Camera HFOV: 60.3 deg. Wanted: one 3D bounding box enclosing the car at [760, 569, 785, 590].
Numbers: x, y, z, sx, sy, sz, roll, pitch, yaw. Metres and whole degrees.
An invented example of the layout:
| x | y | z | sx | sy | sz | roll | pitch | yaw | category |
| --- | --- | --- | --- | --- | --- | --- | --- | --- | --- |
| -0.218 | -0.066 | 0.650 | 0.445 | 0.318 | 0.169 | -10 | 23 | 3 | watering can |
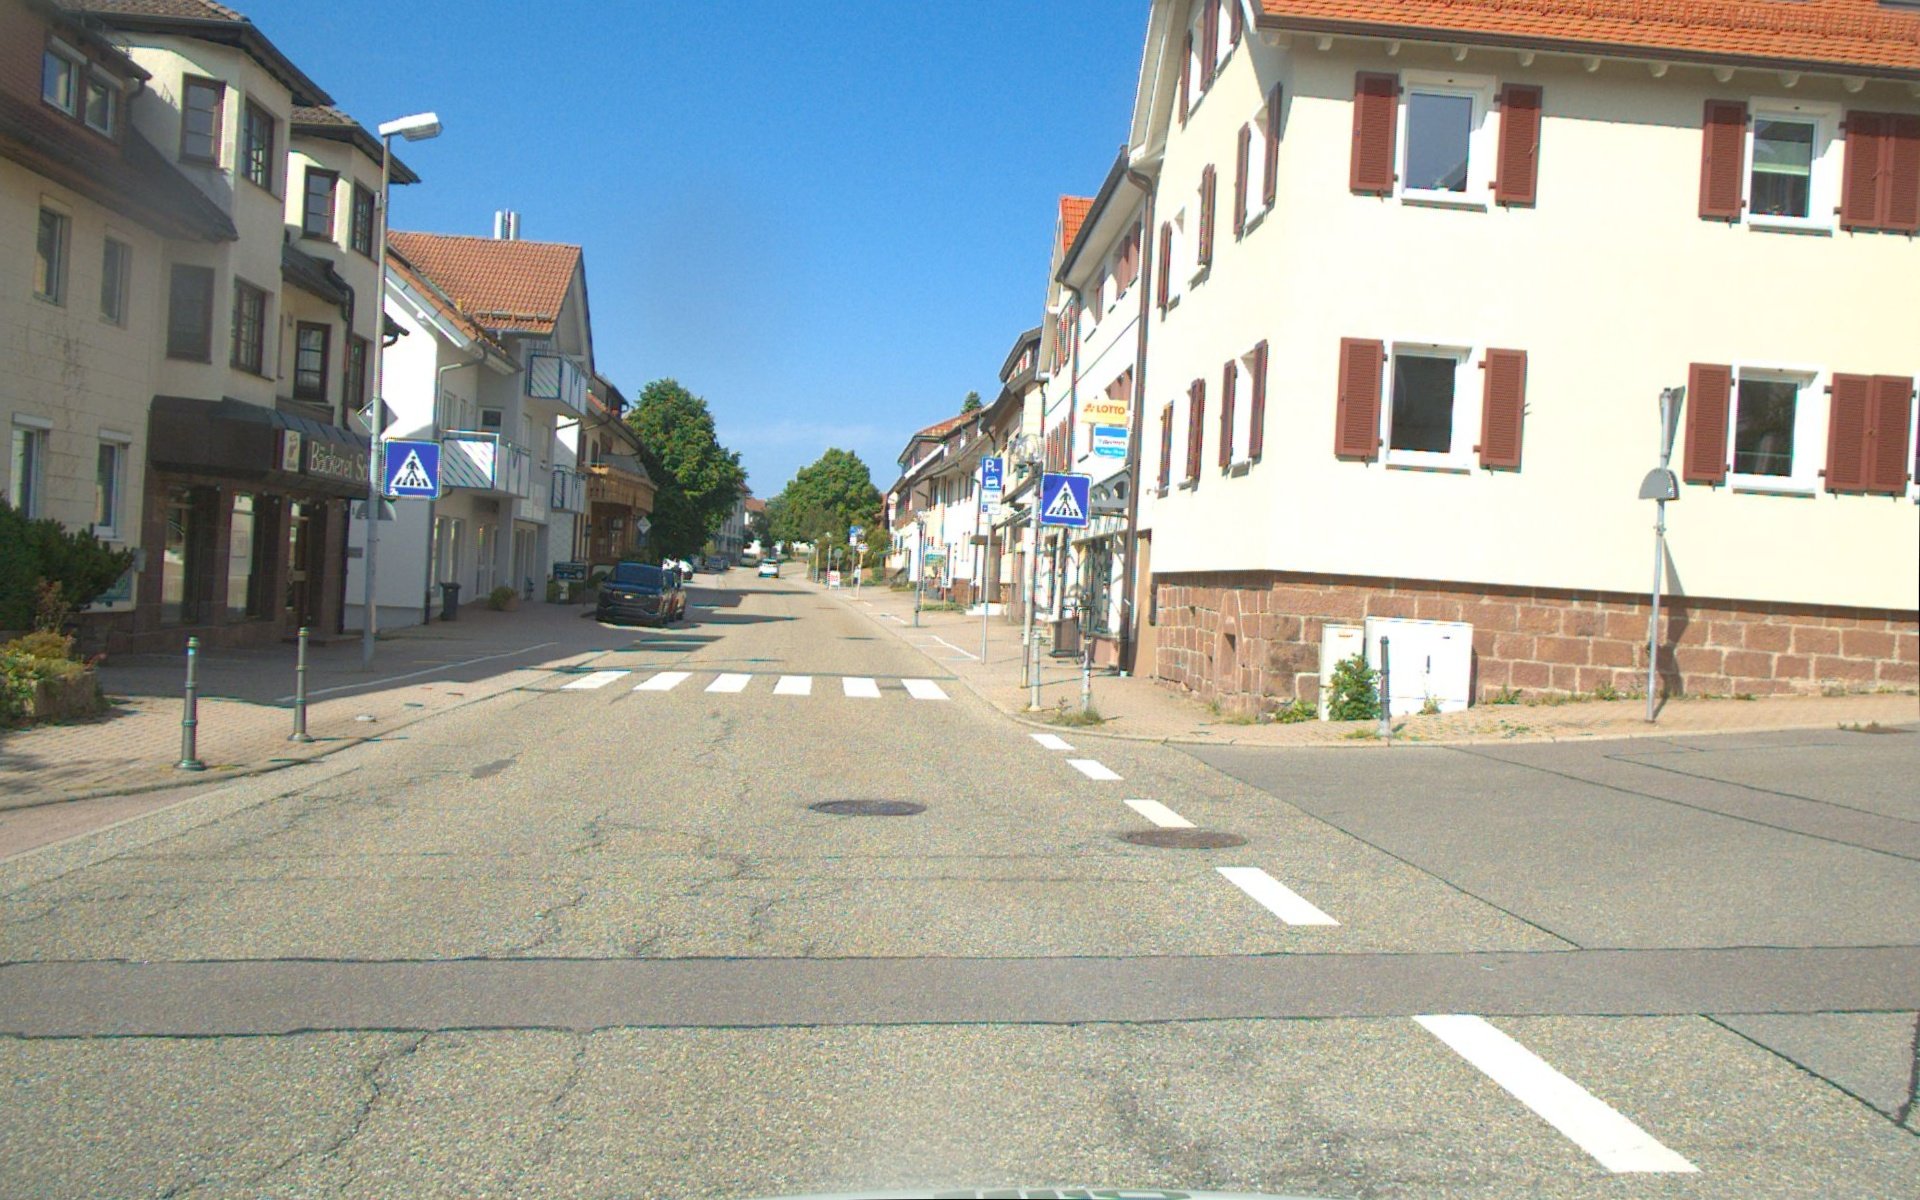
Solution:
| x | y | z | sx | sy | sz | roll | pitch | yaw | category |
| --- | --- | --- | --- | --- | --- | --- | --- | --- | --- |
| -18.492 | -2.015 | 163.194 | 2.448 | 2.049 | 4.298 | 0 | 0 | -7 | car |

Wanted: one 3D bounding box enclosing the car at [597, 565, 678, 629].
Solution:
| x | y | z | sx | sy | sz | roll | pitch | yaw | category |
| --- | --- | --- | --- | --- | --- | --- | --- | --- | --- |
| -9.083 | -0.093 | 46.787 | 1.640 | 1.559 | 3.533 | 7 | 0 | -4 | car |

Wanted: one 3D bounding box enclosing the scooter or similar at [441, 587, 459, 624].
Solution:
| x | y | z | sx | sy | sz | roll | pitch | yaw | category |
| --- | --- | --- | --- | --- | --- | --- | --- | --- | --- |
| -12.614 | 0.145 | 40.911 | 0.345 | 0.905 | 0.394 | 1 | 0 | -10 | scooter or similar |

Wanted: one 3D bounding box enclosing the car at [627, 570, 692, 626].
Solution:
| x | y | z | sx | sy | sz | roll | pitch | yaw | category |
| --- | --- | --- | --- | --- | --- | --- | --- | --- | --- |
| -9.472 | -0.060 | 52.294 | 1.637 | 1.703 | 3.309 | 1 | 0 | -4 | car |
